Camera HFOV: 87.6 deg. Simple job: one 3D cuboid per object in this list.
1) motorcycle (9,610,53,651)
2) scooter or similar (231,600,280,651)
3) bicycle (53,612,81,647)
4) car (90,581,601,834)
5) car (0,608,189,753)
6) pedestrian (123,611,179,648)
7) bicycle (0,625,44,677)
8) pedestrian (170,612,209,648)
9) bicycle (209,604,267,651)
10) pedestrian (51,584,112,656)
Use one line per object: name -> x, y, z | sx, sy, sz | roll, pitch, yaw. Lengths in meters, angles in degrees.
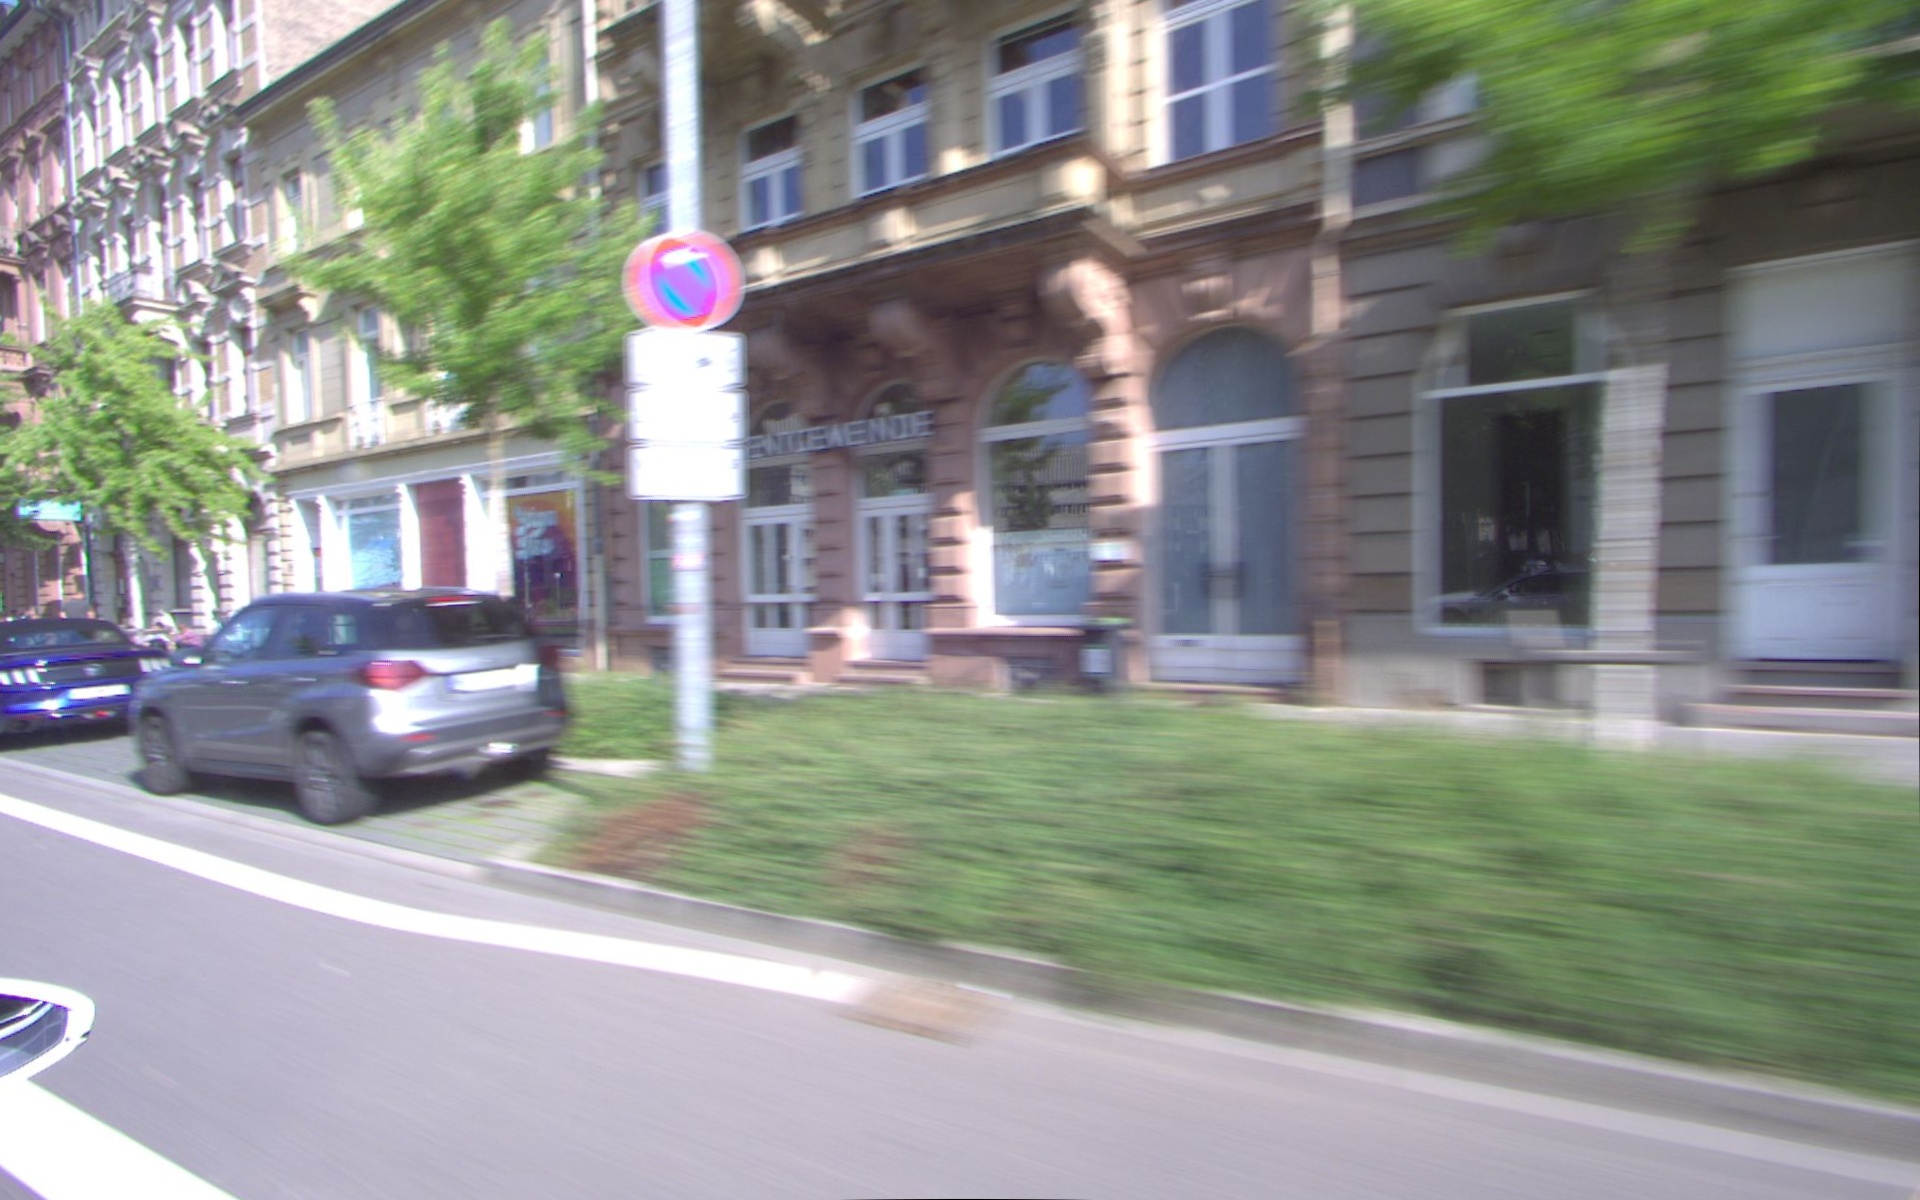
motorcycle -> -28.155, 0.922, 30.341 | 1.918, 1.192, 0.462 | 0, 3, 34
scooter or similar -> -16.264, 0.576, 23.111 | 0.918, 1.140, 0.605 | 0, 2, 33
bicycle -> -26.545, 0.870, 29.758 | 1.240, 1.032, 0.395 | 0, 1, 39
car -> -5.148, 0.693, 8.295 | 4.183, 1.610, 1.766 | 0, 2, 30
car -> -11.461, 0.852, 12.329 | 4.650, 1.415, 1.731 | 0, 3, 35
pedestrian -> -20.740, 0.754, 25.687 | 0.700, 0.889, 0.875 | 0, 3, 30
bicycle -> -20.465, 1.088, 21.396 | 0.447, 1.096, 1.875 | -2, 0, -15
pedestrian -> -19.162, 0.740, 24.910 | 0.450, 0.867, 0.569 | 0, 4, 27
bicycle -> -17.216, 0.647, 23.880 | 1.424, 1.098, 0.451 | 0, 1, 24
pedestrian -> -21.643, 0.483, 24.686 | 0.781, 1.720, 0.821 | 0, 4, 29
